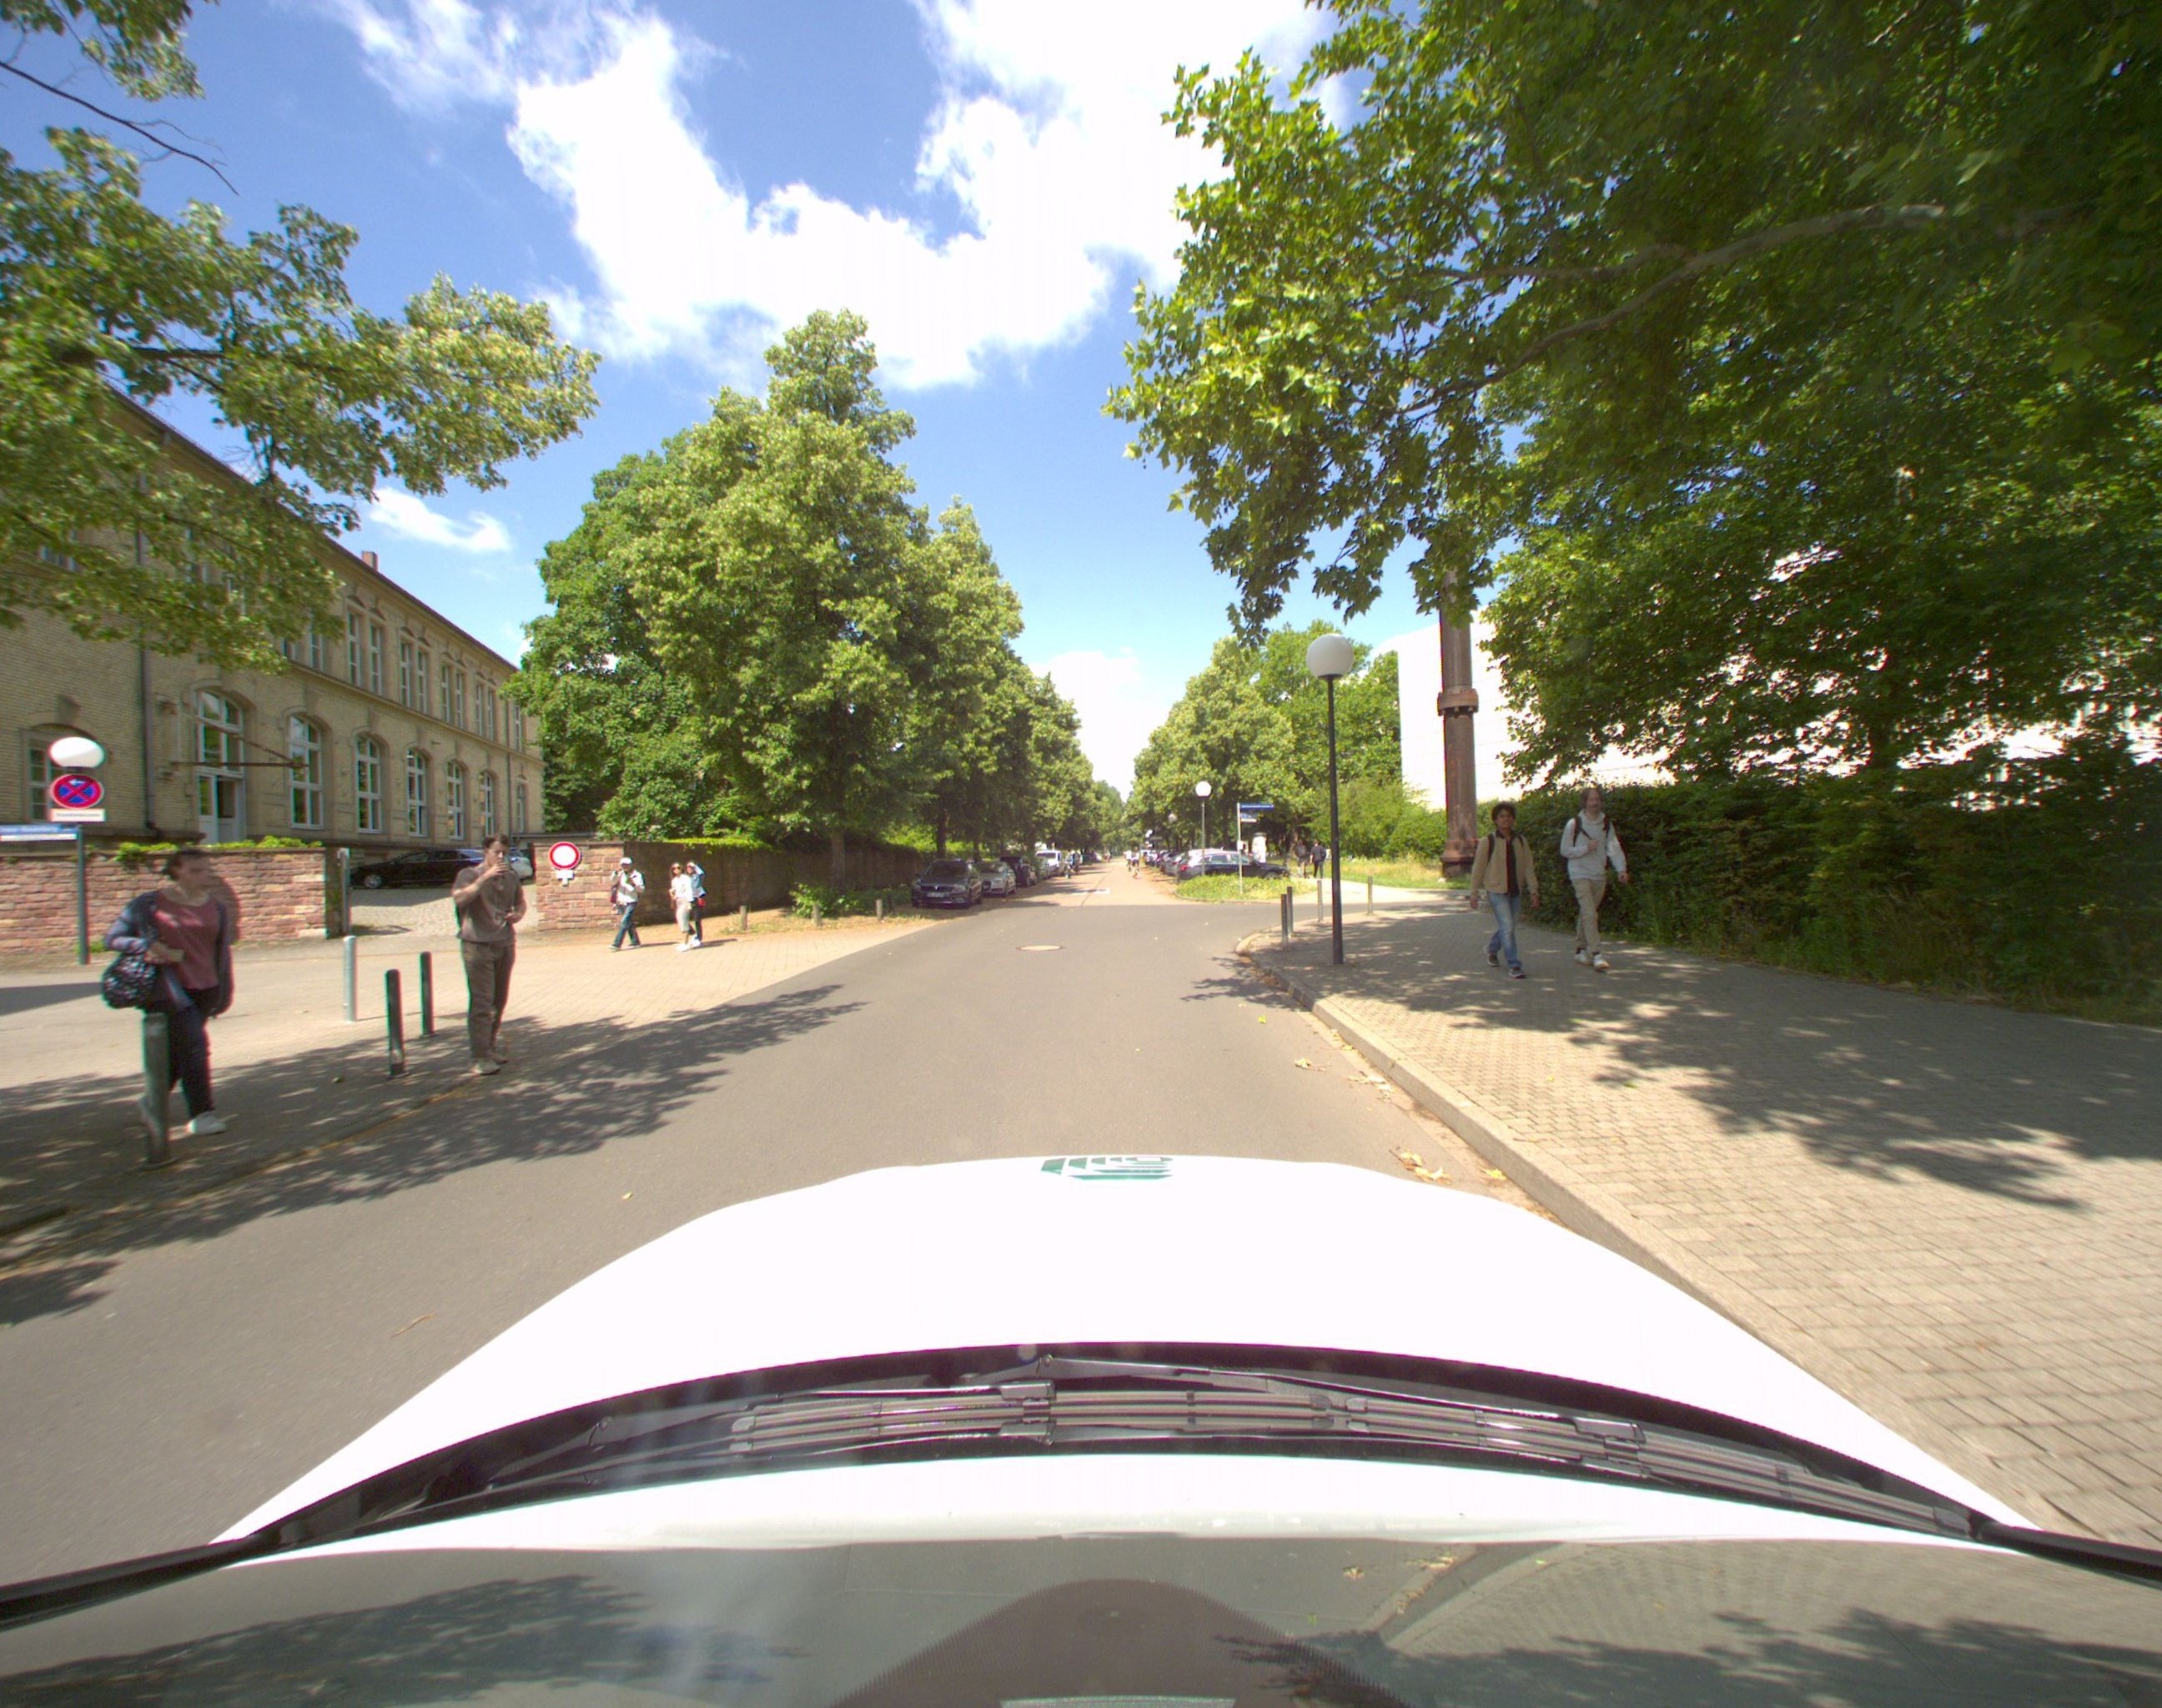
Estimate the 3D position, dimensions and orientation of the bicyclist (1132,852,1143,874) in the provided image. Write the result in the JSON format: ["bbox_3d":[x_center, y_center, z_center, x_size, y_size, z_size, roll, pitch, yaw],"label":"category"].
[{"bbox_3d":[3.348,0.529,48.553,0.607,1.296,0.611,-2,0,1],"label":"bicyclist"}]

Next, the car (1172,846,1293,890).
[{"bbox_3d":[5.973,0.550,32.501,4.467,1.525,1.812,-3,0,2],"label":"car"}]

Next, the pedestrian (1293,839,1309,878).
[{"bbox_3d":[10.025,0.187,37.075,0.598,1.755,0.630,-2,0,8],"label":"pedestrian"}]

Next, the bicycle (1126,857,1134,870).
[{"bbox_3d":[4.013,0.778,67.078,0.612,1.001,1.423,0,-1,0],"label":"bicycle"}]

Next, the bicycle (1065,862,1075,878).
[{"bbox_3d":[-0.700,1.032,51.958,0.575,1.001,1.424,-2,0,2],"label":"bicycle"}]

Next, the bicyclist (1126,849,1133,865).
[{"bbox_3d":[3.972,0.284,66.997,0.520,1.296,0.611,-2,0,0],"label":"bicyclist"}]

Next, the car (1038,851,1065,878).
[{"bbox_3d":[-2.033,0.698,57.576,1.609,1.816,4.002,-2,0,2],"label":"car"}]

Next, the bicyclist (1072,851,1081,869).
[{"bbox_3d":[-0.368,0.447,61.665,0.606,1.296,0.611,-2,0,1],"label":"bicyclist"}]

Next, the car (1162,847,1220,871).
[{"bbox_3d":[8.409,0.372,62.494,4.239,1.588,1.921,-3,0,2],"label":"car"}]

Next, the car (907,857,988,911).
[{"bbox_3d":[-4.160,0.886,25.967,1.753,1.522,4.113,-2,0,2],"label":"car"}]

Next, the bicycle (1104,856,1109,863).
[{"bbox_3d":[3.824,0.809,121.820,0.606,1.001,1.424,-2,0,2],"label":"bicycle"}]

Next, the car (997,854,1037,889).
[{"bbox_3d":[-3.267,0.858,42.282,1.609,1.679,4.002,-2,0,2],"label":"car"}]

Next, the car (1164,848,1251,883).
[{"bbox_3d":[6.485,0.564,42.126,4.239,1.588,1.812,-3,0,2],"label":"car"}]

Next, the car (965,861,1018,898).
[{"bbox_3d":[-3.626,1.006,33.596,1.609,1.387,4.002,-2,0,2],"label":"car"}]

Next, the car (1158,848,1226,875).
[{"bbox_3d":[7.262,0.479,53.626,4.239,1.588,1.921,-3,0,2],"label":"car"}]

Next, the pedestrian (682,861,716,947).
[{"bbox_3d":[-7.244,0.930,15.427,0.497,1.585,0.489,-1,0,-32],"label":"pedestrian"}]

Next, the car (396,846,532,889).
[{"bbox_3d":[-24.029,0.514,31.864,4.120,1.517,1.737,-2,0,-36],"label":"car"}]

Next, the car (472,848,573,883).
[{"bbox_3d":[-27.794,0.555,40.672,3.871,1.622,1.743,-2,0,-23],"label":"car"}]

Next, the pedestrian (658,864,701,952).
[{"bbox_3d":[-7.249,0.953,14.703,0.588,1.527,0.488,-1,-1,-37],"label":"pedestrian"}]

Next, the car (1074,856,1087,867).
[{"bbox_3d":[-0.020,0.907,106.015,1.610,1.365,4.000,-2,0,1],"label":"car"}]

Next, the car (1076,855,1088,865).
[{"bbox_3d":[0.095,0.867,115.830,1.610,1.365,4.562,-2,0,1],"label":"car"}]

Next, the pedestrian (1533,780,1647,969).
[{"bbox_3d":[5.317,0.204,8.552,0.668,1.872,0.793,-2,0,4],"label":"pedestrian"}]

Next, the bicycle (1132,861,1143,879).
[{"bbox_3d":[3.356,0.955,48.518,0.611,1.001,1.424,-2,0,2],"label":"bicycle"}]

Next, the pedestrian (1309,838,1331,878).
[{"bbox_3d":[10.833,0.186,36.930,0.816,1.755,0.630,-2,0,8],"label":"pedestrian"}]

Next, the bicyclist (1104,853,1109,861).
[{"bbox_3d":[3.835,0.452,121.824,0.607,1.296,0.611,-2,0,1],"label":"bicyclist"}]

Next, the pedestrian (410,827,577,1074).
[{"bbox_3d":[-4.758,0.733,6.629,0.718,1.857,0.795,-2,0,19],"label":"pedestrian"}]

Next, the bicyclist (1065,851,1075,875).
[{"bbox_3d":[-0.709,0.570,52.073,0.561,1.498,0.828,-2,0,2],"label":"bicyclist"}]

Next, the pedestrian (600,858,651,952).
[{"bbox_3d":[-8.419,0.922,15.045,0.595,1.663,0.632,-2,-1,43],"label":"pedestrian"}]

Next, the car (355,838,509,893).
[{"bbox_3d":[-23.182,0.377,29.298,4.189,1.823,1.978,-2,0,-36],"label":"car"}]

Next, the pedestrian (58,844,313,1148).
[{"bbox_3d":[-5.537,0.808,5.075,0.734,1.712,0.794,-2,0,16],"label":"pedestrian"}]

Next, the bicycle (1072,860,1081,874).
[{"bbox_3d":[-0.359,0.999,61.540,0.611,1.001,1.424,-2,0,2],"label":"bicycle"}]

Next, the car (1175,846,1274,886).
[{"bbox_3d":[6.538,0.537,37.392,4.239,1.588,1.812,-3,0,2],"label":"car"}]

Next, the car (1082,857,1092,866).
[{"bbox_3d":[0.951,1.195,128.980,1.610,1.365,4.000,-2,0,1],"label":"car"}]

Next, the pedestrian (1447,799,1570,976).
[{"bbox_3d":[4.481,0.332,8.600,0.818,1.755,0.841,-2,0,1],"label":"pedestrian"}]
